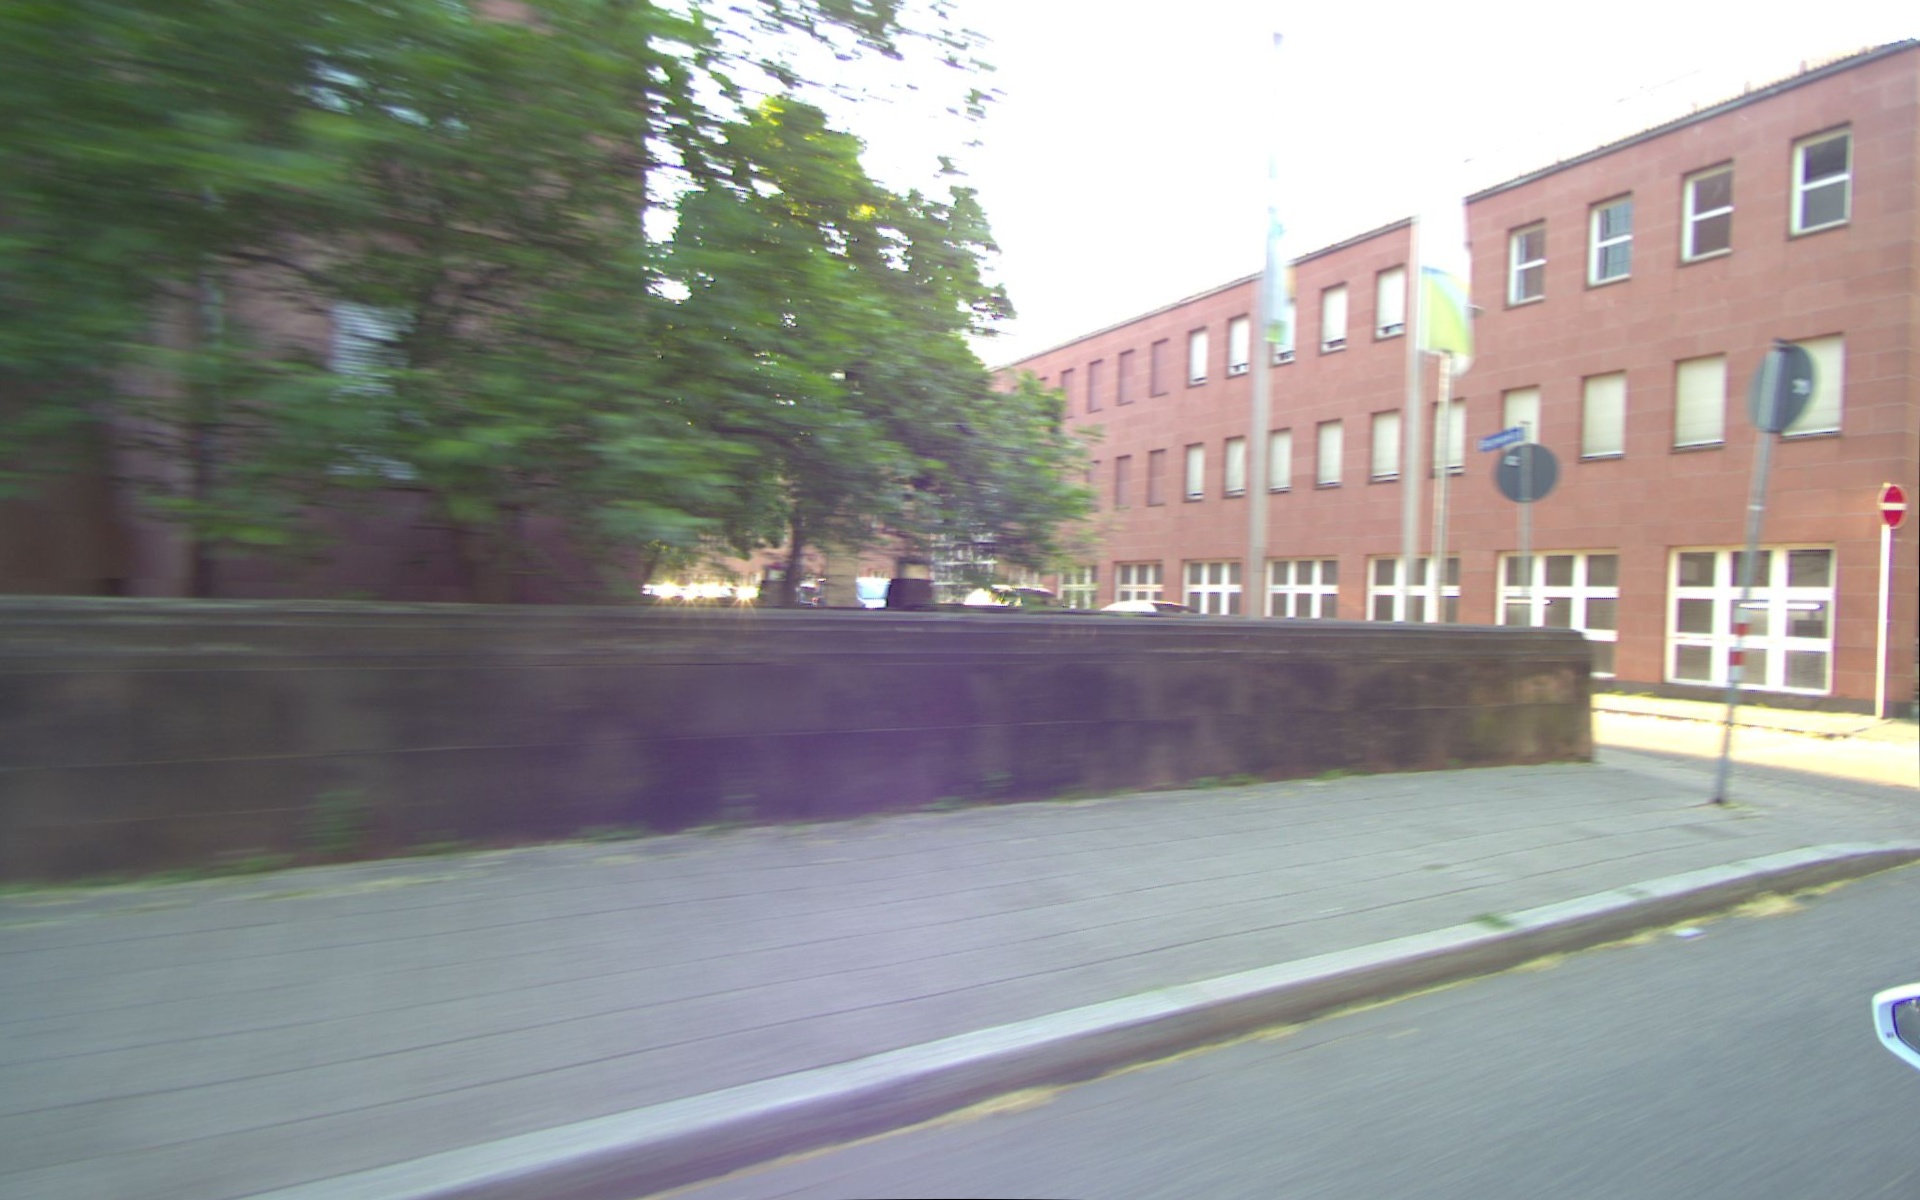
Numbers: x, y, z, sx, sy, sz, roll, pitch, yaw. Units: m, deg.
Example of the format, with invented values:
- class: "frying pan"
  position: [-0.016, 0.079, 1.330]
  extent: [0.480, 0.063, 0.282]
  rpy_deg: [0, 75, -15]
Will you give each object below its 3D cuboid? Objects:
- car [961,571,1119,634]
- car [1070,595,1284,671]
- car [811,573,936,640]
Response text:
- class: "car"
  position: [2.134, 0.021, 28.438]
  extent: [1.976, 1.528, 5.070]
  rpy_deg: [4, -1, -28]
- class: "car"
  position: [4.867, 0.705, 23.357]
  extent: [1.976, 1.430, 5.068]
  rpy_deg: [4, -1, -29]
- class: "car"
  position: [-2.774, 0.138, 31.059]
  extent: [1.976, 1.900, 5.069]
  rpy_deg: [0, 1, -29]
